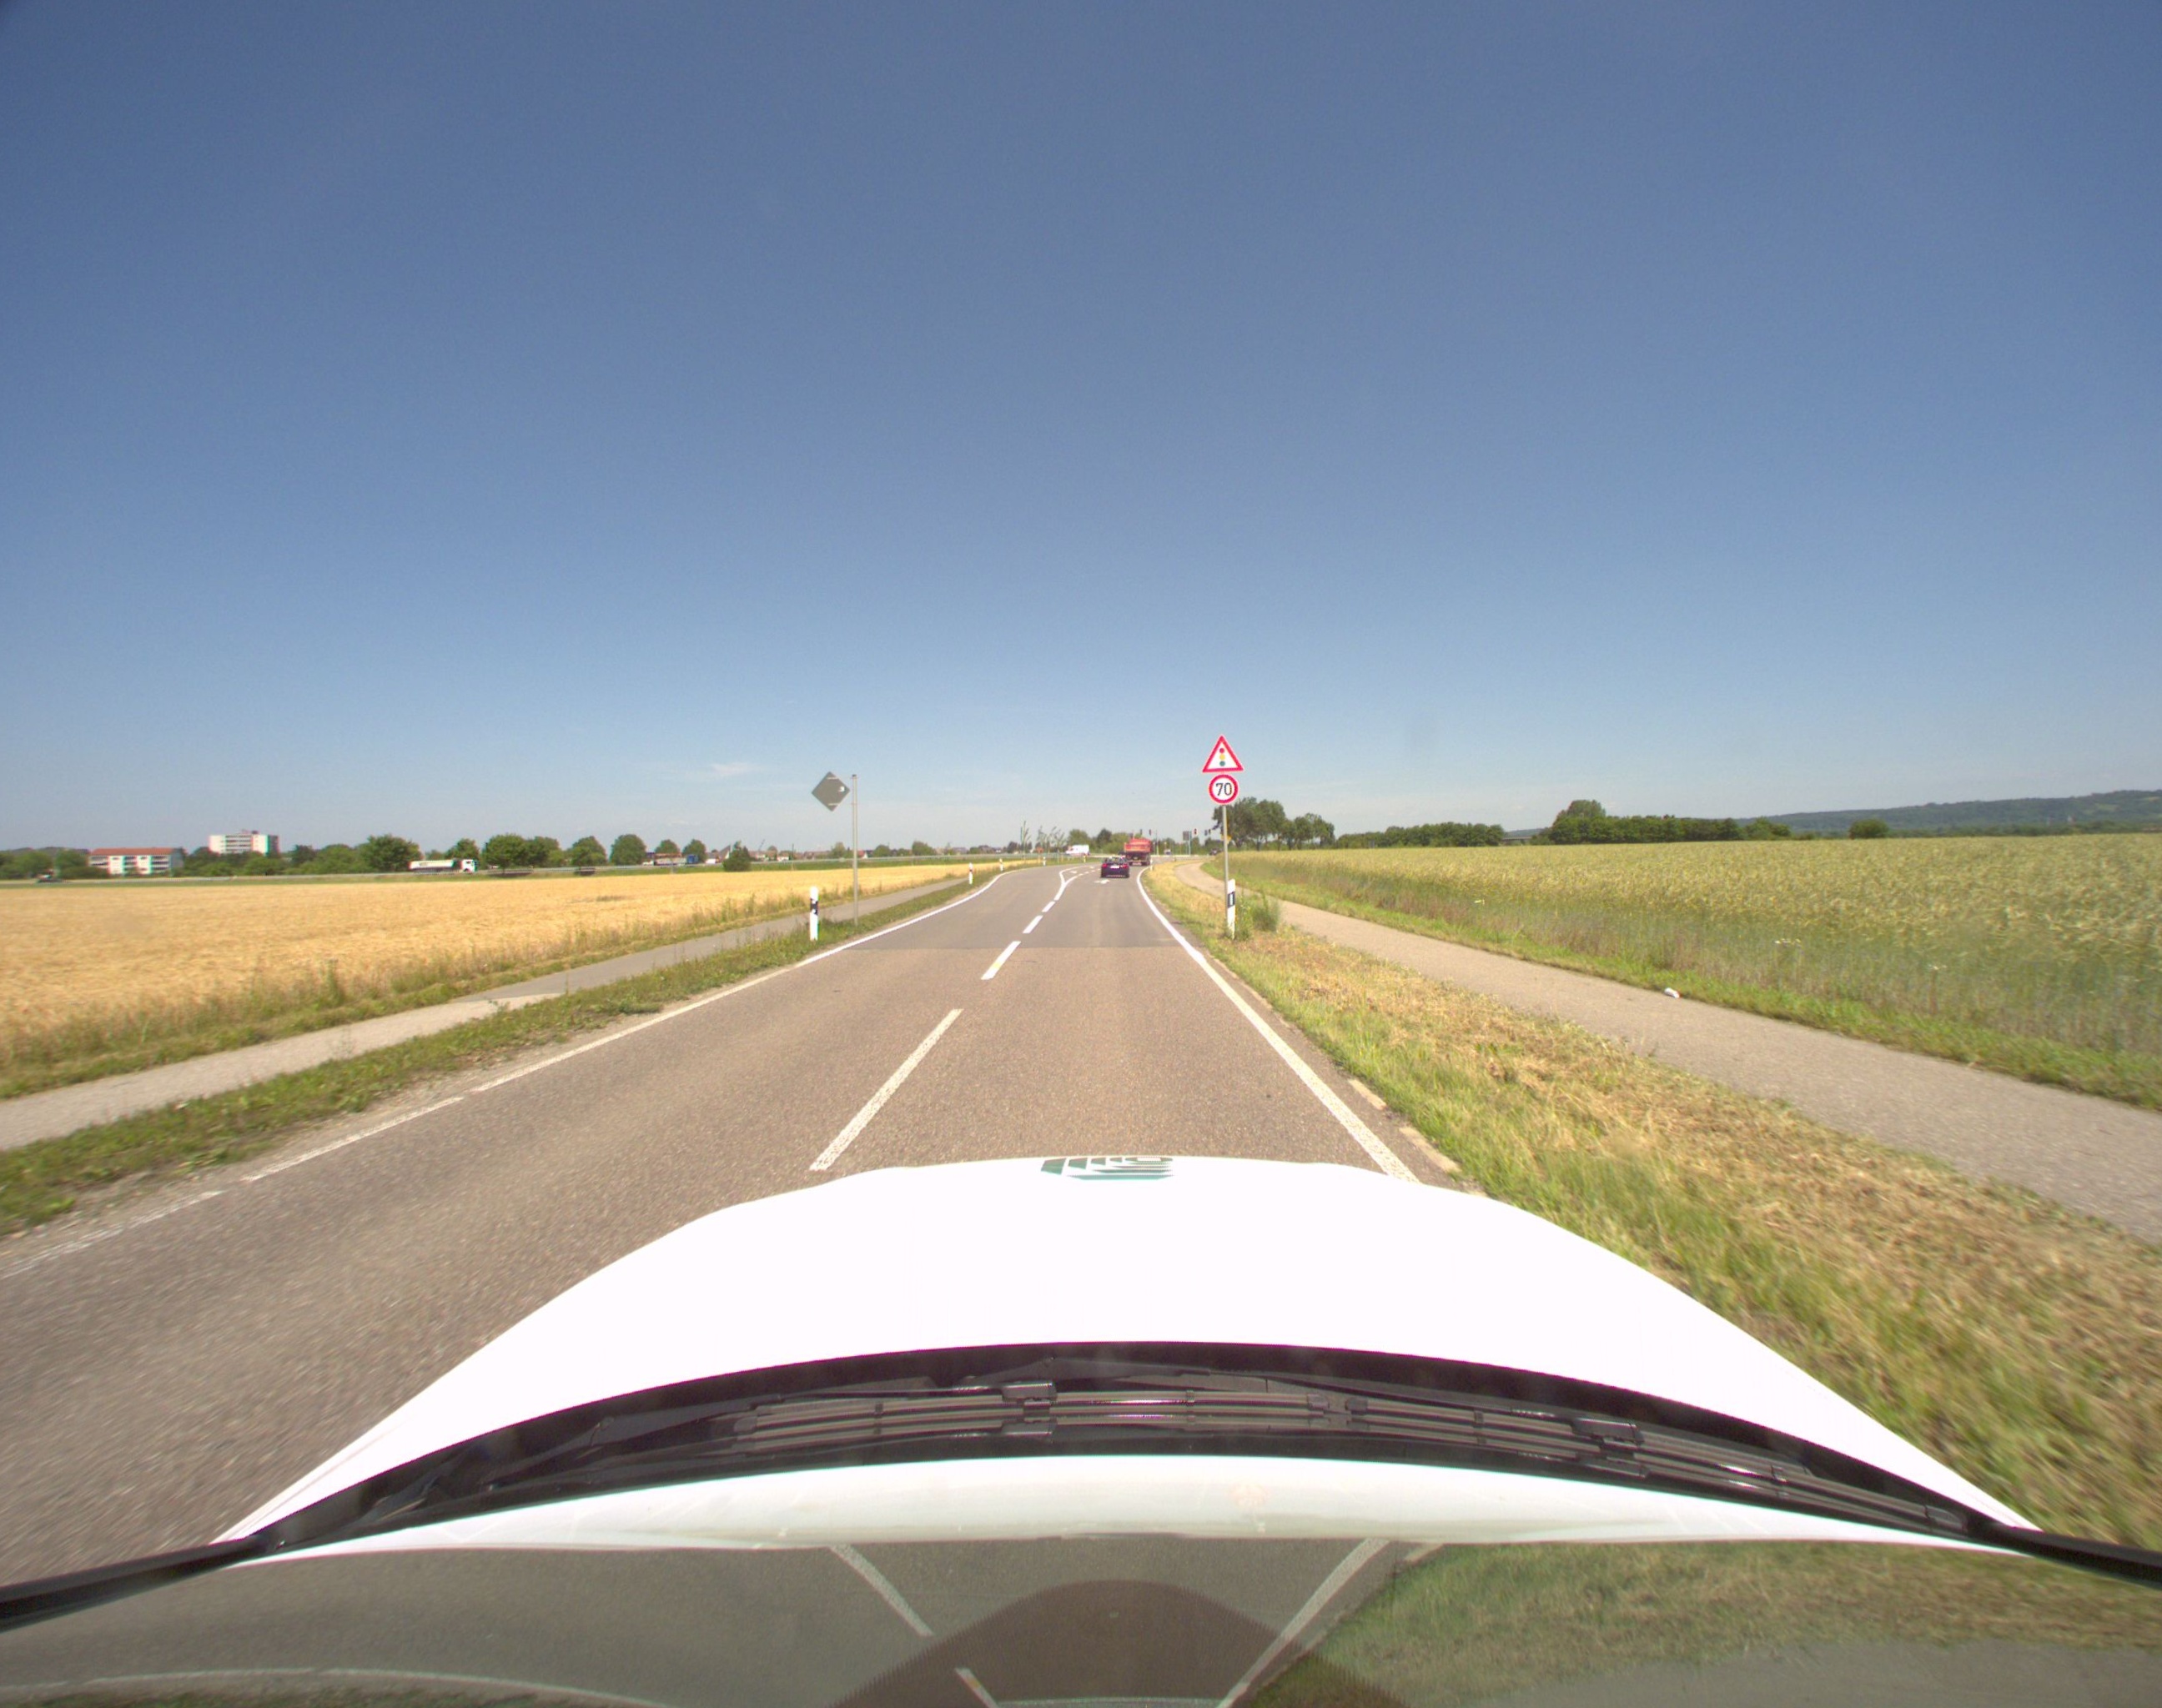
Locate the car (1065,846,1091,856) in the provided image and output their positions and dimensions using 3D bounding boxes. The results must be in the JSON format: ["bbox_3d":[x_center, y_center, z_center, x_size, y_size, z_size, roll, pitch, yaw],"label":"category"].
[{"bbox_3d":[-0.709,-0.729,196.236,5.884,2.421,2.253,0,0,8],"label":"car"}]

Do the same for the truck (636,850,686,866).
[{"bbox_3d":[-99.525,0.908,192.983,10.073,3.793,2.619,-1,0,-8],"label":"truck"}]

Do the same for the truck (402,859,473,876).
[{"bbox_3d":[-143.426,2.913,181.658,12.033,3.614,2.962,-1,0,-21],"label":"truck"}]

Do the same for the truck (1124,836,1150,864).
[{"bbox_3d":[6.494,-0.354,94.081,2.700,3.053,8.177,0,-1,6],"label":"truck"}]

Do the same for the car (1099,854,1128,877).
[{"bbox_3d":[1.998,0.732,51.126,1.741,1.376,3.679,1,-1,1],"label":"car"}]
